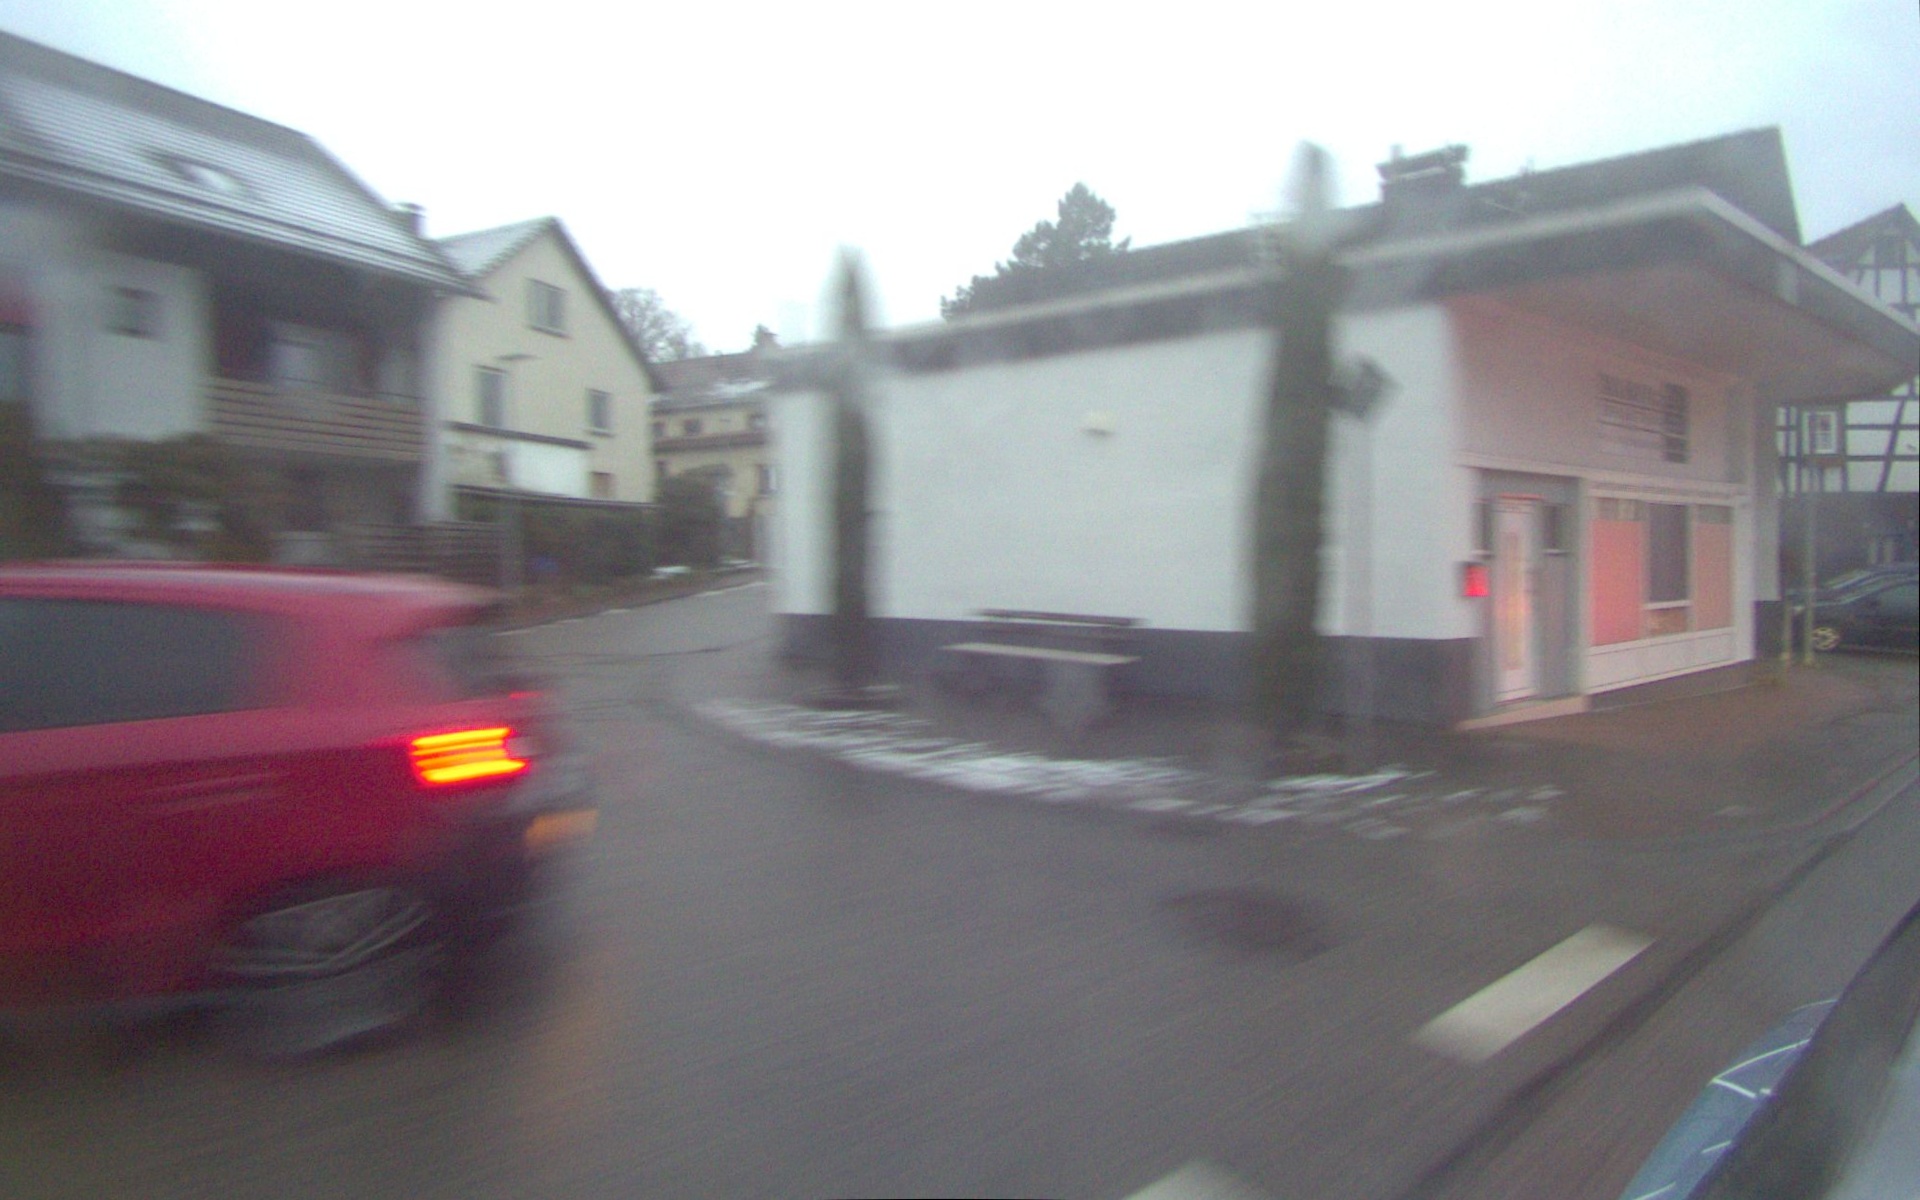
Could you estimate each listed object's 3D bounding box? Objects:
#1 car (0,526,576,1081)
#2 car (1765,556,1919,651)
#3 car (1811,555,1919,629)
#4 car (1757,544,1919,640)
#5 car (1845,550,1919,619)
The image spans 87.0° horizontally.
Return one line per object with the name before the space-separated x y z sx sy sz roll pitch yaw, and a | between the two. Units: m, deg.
car | -3.275 0.529 3.318 3.621 1.484 1.554 0 1 -14
car | 17.355 0.093 18.447 3.866 1.466 1.868 6 7 32
car | 21.429 -0.110 22.111 4.009 1.437 1.796 6 7 32
car | 19.094 -0.138 20.367 4.442 1.679 1.837 6 7 31
car | 24.185 -0.291 24.329 3.945 1.533 1.585 5 6 25
